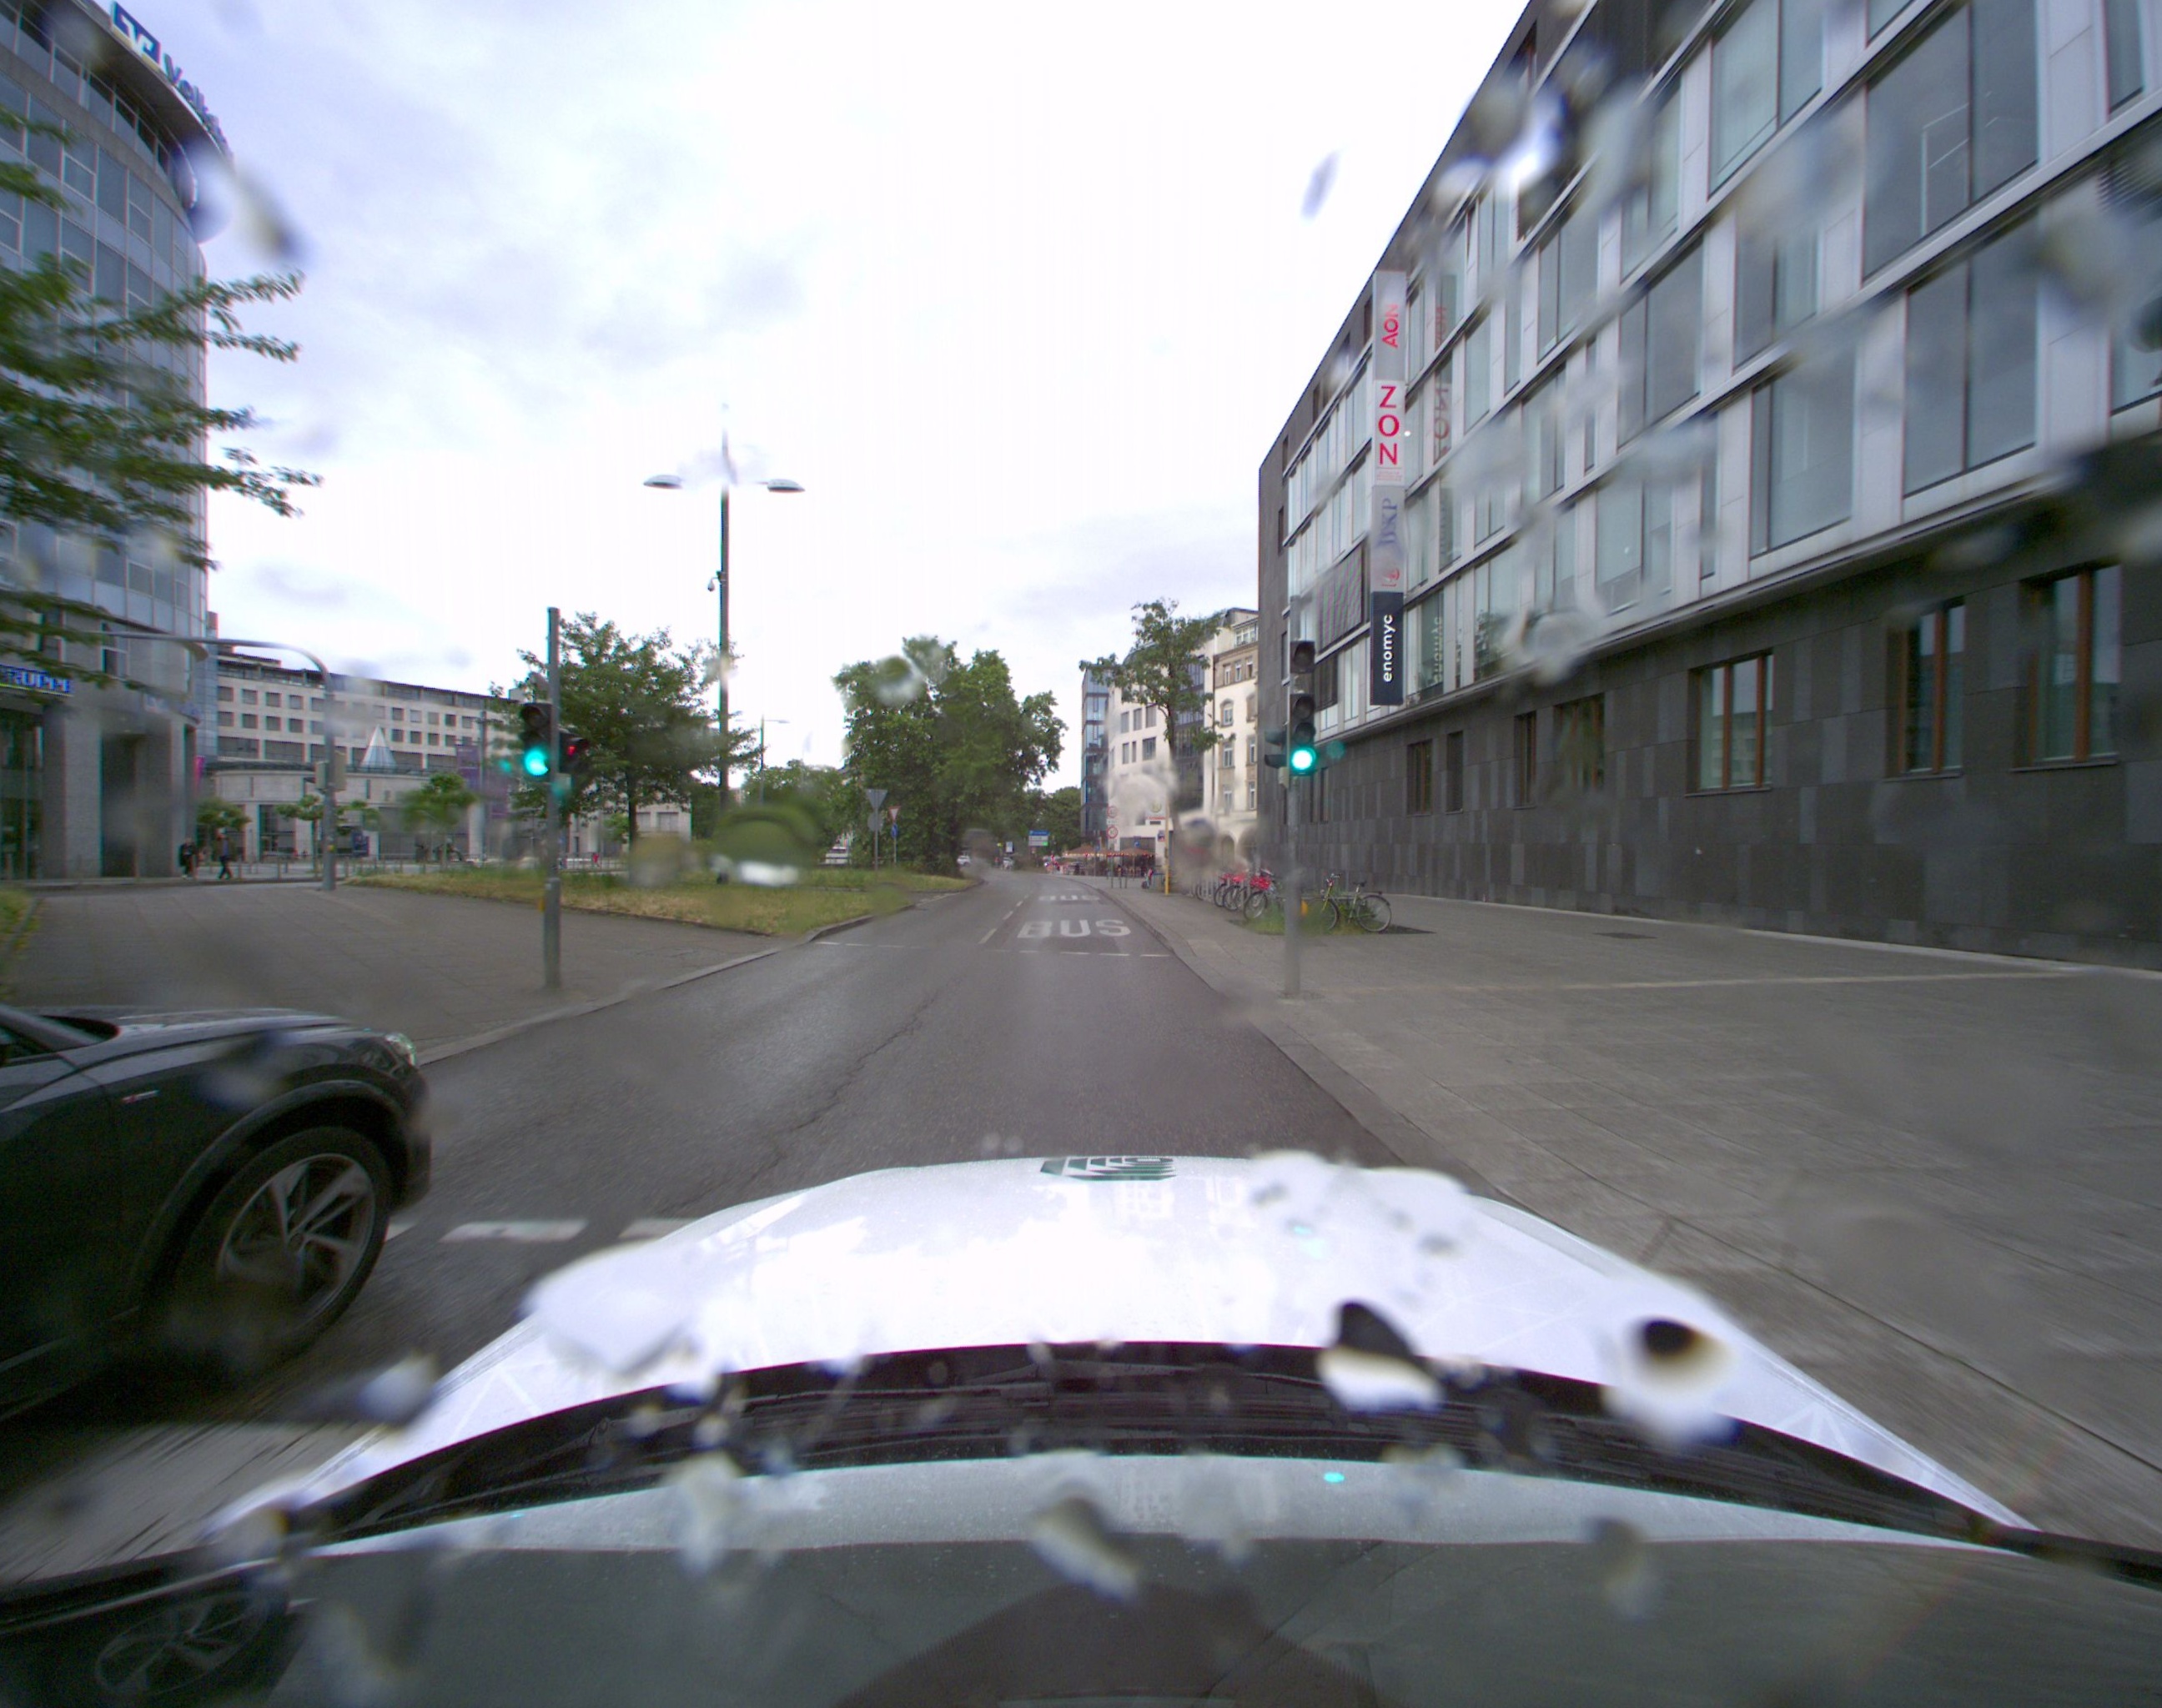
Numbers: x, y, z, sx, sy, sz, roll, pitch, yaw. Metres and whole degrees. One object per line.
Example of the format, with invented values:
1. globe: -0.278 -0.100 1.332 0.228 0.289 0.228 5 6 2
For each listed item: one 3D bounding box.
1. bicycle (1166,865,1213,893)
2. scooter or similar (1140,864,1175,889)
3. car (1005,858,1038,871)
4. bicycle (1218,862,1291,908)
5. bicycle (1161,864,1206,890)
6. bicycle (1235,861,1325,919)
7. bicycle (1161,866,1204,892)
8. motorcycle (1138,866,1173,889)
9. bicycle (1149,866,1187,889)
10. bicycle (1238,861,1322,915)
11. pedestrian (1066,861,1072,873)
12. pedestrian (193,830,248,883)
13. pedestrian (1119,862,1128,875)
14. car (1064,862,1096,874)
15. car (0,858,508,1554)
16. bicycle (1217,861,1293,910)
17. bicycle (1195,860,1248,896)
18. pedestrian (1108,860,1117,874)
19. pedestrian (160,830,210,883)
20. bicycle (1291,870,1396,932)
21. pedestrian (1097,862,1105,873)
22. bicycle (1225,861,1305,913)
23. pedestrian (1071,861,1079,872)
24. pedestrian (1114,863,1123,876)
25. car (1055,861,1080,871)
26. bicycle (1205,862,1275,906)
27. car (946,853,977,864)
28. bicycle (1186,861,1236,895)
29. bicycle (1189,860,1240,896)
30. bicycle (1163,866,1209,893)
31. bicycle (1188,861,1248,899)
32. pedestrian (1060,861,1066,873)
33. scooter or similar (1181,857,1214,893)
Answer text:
1. bicycle: 4.375 1.019 32.976 1.792 1.068 0.555 2 -2 -7
2. scooter or similar: 4.063 1.195 43.257 1.790 1.243 0.594 2 -2 -8
3. car: -8.846 1.568 120.993 4.723 1.691 2.003 1 0 -3
4. bicycle: 4.489 0.786 21.162 1.729 1.140 0.687 -1 0 -9
5. bicycle: 4.363 0.975 34.619 1.792 1.068 0.555 2 -2 -7
6. bicycle: 4.229 0.752 17.364 1.729 1.183 0.687 -1 0 -9
7. bicycle: 4.535 1.100 36.512 1.793 1.108 0.668 2 -2 -8
8. motorcycle: 4.040 1.271 43.992 1.790 1.140 0.594 2 -2 -8
9. bicycle: 4.416 1.207 41.184 1.793 1.108 0.668 2 -2 -8
10. bicycle: 4.508 0.754 18.474 1.729 1.183 0.687 -1 0 -9
11. pedestrian: -1.345 1.501 92.734 0.605 1.326 0.566 3 -1 -6
12. pedestrian: -33.885 0.100 32.089 1.054 2.014 1.030 0 -1 -15
13. pedestrian: 4.389 1.496 84.710 0.630 1.326 0.630 3 -1 -26
14. car: -0.128 2.084 123.453 4.723 1.691 2.003 1 0 -3
15. car: -3.274 0.767 1.202 1.856 1.518 4.342 0 0 -2
16. bicycle: 4.332 0.770 20.309 1.729 1.183 0.687 -1 0 -9
17. bicycle: 4.459 0.766 25.908 1.533 1.140 0.687 0 -2 -9
18. pedestrian: 3.077 1.300 79.484 0.773 1.326 0.634 3 -1 -7
19. pedestrian: -34.875 0.102 31.702 0.851 2.014 1.030 0 -1 -15
20. bicycle: 4.841 0.847 15.082 1.729 1.070 0.687 -1 0 -9
21. pedestrian: 2.343 1.573 94.880 0.816 1.326 0.634 3 -1 -6
22. bicycle: 4.358 0.766 19.340 1.729 1.183 0.687 -1 0 -9
23. pedestrian: -0.700 1.442 94.284 0.816 1.326 0.634 3 -1 -6
24. pedestrian: 3.977 1.654 85.918 0.630 1.326 0.630 3 -1 -26
25. car: -2.173 1.890 130.576 3.950 1.510 1.811 1 0 44
26. bicycle: 4.291 0.795 21.991 1.729 1.140 0.687 -1 0 -9
27. car: -18.624 0.740 126.839 4.300 1.666 1.960 0 -1 14
28. bicycle: 4.381 0.804 27.495 1.533 1.140 0.660 0 -2 -9
29. bicycle: 4.360 0.783 26.682 1.533 1.140 0.687 0 -2 -9
30. bicycle: 4.365 1.055 33.842 1.792 1.068 0.555 2 -2 -7
31. bicycle: 4.225 0.797 25.089 1.705 1.140 0.687 0 -2 -9
32. pedestrian: -2.037 1.470 92.635 0.605 1.326 0.566 3 -1 -6
33. scooter or similar: 4.095 0.743 28.644 1.105 1.258 0.301 0 -2 -9
